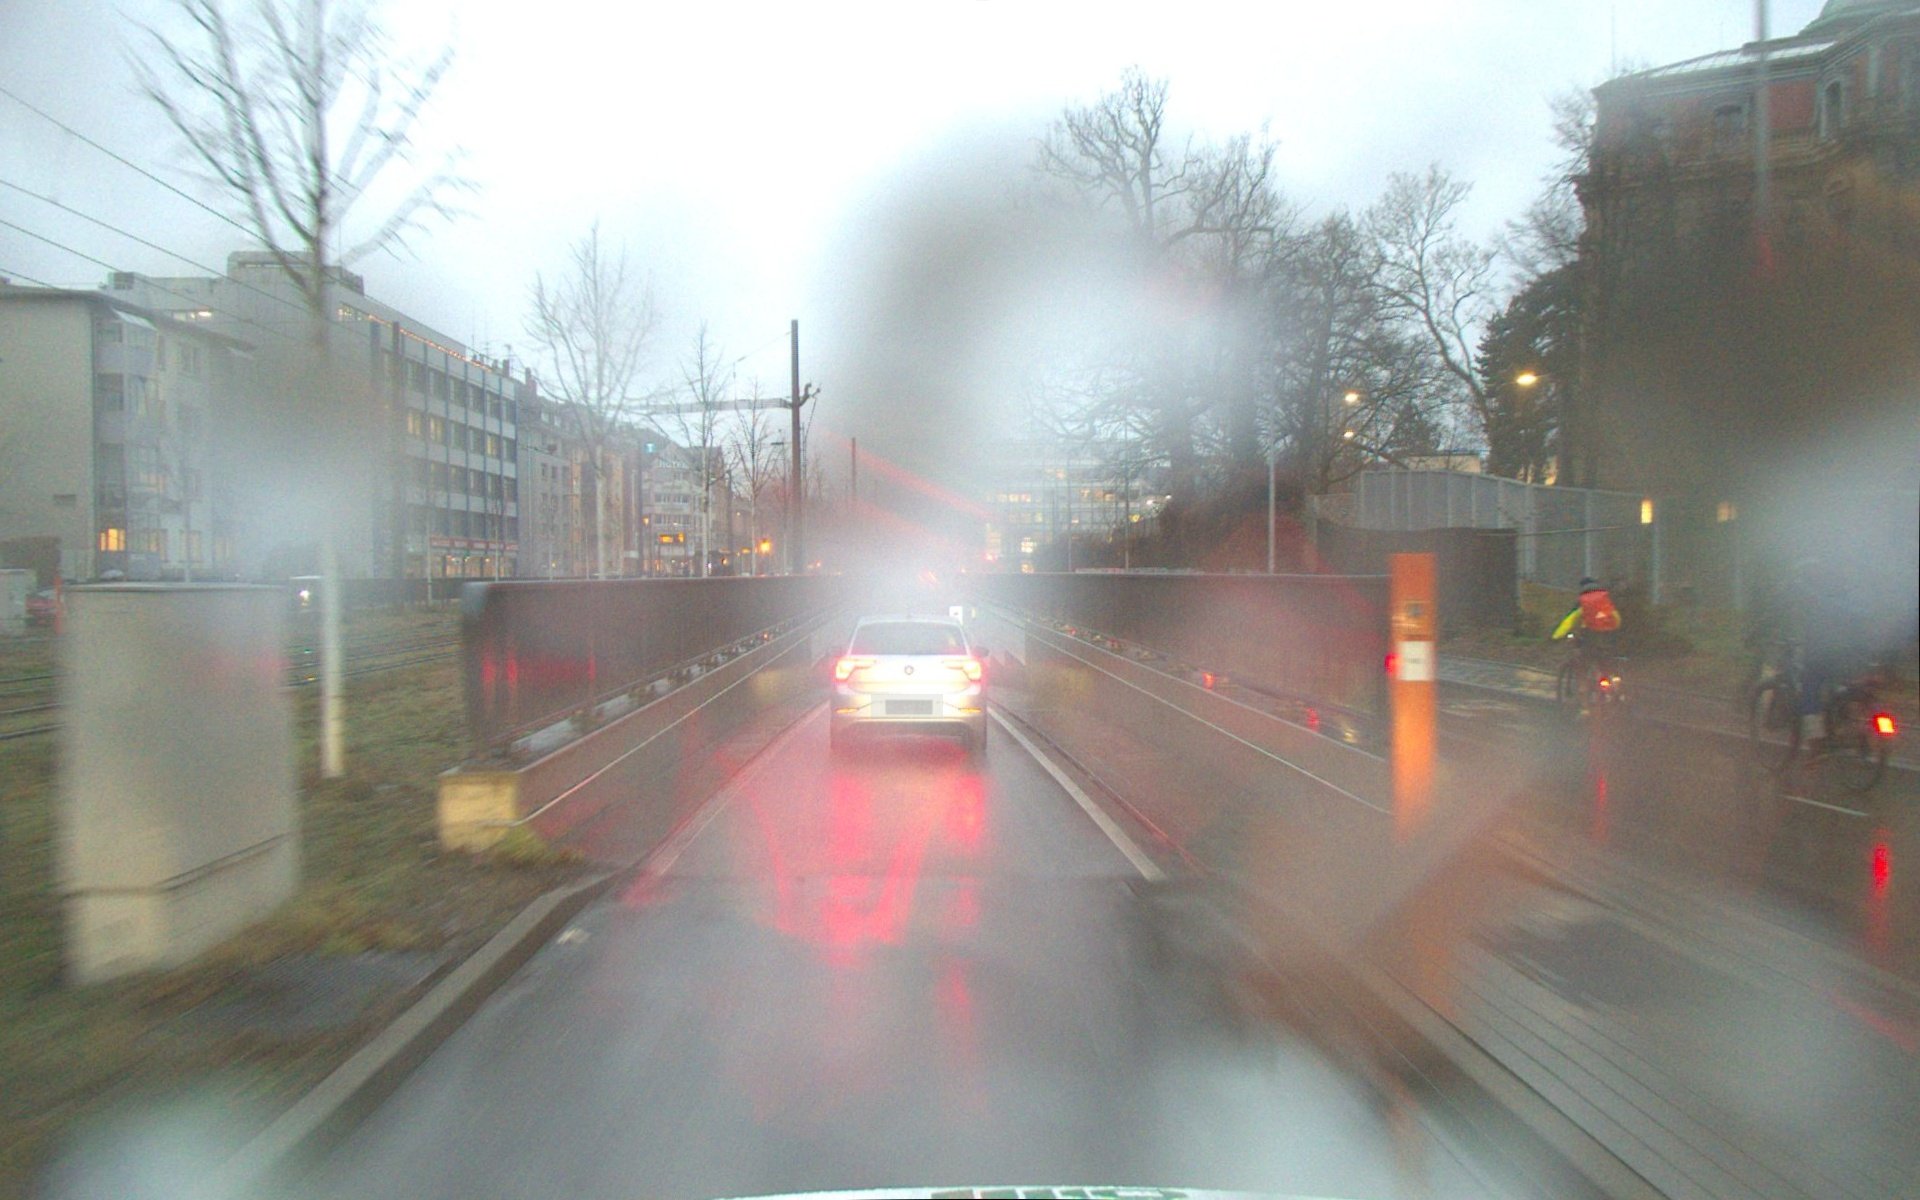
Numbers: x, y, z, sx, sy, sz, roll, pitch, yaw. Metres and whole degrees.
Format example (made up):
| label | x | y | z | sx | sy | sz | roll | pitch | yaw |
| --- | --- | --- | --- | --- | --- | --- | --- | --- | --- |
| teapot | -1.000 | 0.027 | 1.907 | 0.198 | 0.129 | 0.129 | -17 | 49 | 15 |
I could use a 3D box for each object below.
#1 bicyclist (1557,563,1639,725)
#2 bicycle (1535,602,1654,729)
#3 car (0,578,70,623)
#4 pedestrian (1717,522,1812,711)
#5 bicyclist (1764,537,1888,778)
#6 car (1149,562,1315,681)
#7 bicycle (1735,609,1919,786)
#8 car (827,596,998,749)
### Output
| label | x | y | z | sx | sy | sz | roll | pitch | yaw |
| --- | --- | --- | --- | --- | --- | --- | --- | --- | --- |
| bicyclist | 6.584 | 0.434 | 17.084 | 0.490 | 1.619 | 0.837 | -1 | 1 | -3 |
| bicycle | 6.567 | 0.643 | 17.215 | 0.403 | 1.205 | 1.947 | -1 | 1 | -3 |
| car | -32.669 | -0.010 | 57.193 | 1.770 | 1.461 | 3.925 | -1 | 1 | -3 |
| pedestrian | 8.408 | 0.159 | 17.305 | 0.521 | 1.912 | 0.900 | -1 | 1 | -3 |
| bicyclist | 6.676 | 0.419 | 12.779 | 0.490 | 1.798 | 0.837 | -1 | 1 | -3 |
| car | 3.768 | 0.274 | 23.493 | 1.687 | 1.505 | 4.000 | 1 | 0 | 0 |
| bicycle | 6.725 | 0.698 | 12.802 | 0.403 | 1.205 | 2.028 | -1 | 1 | -3 |
| car | -0.466 | 0.725 | 18.656 | 1.687 | 1.505 | 4.000 | 1 | 0 | 0 |
